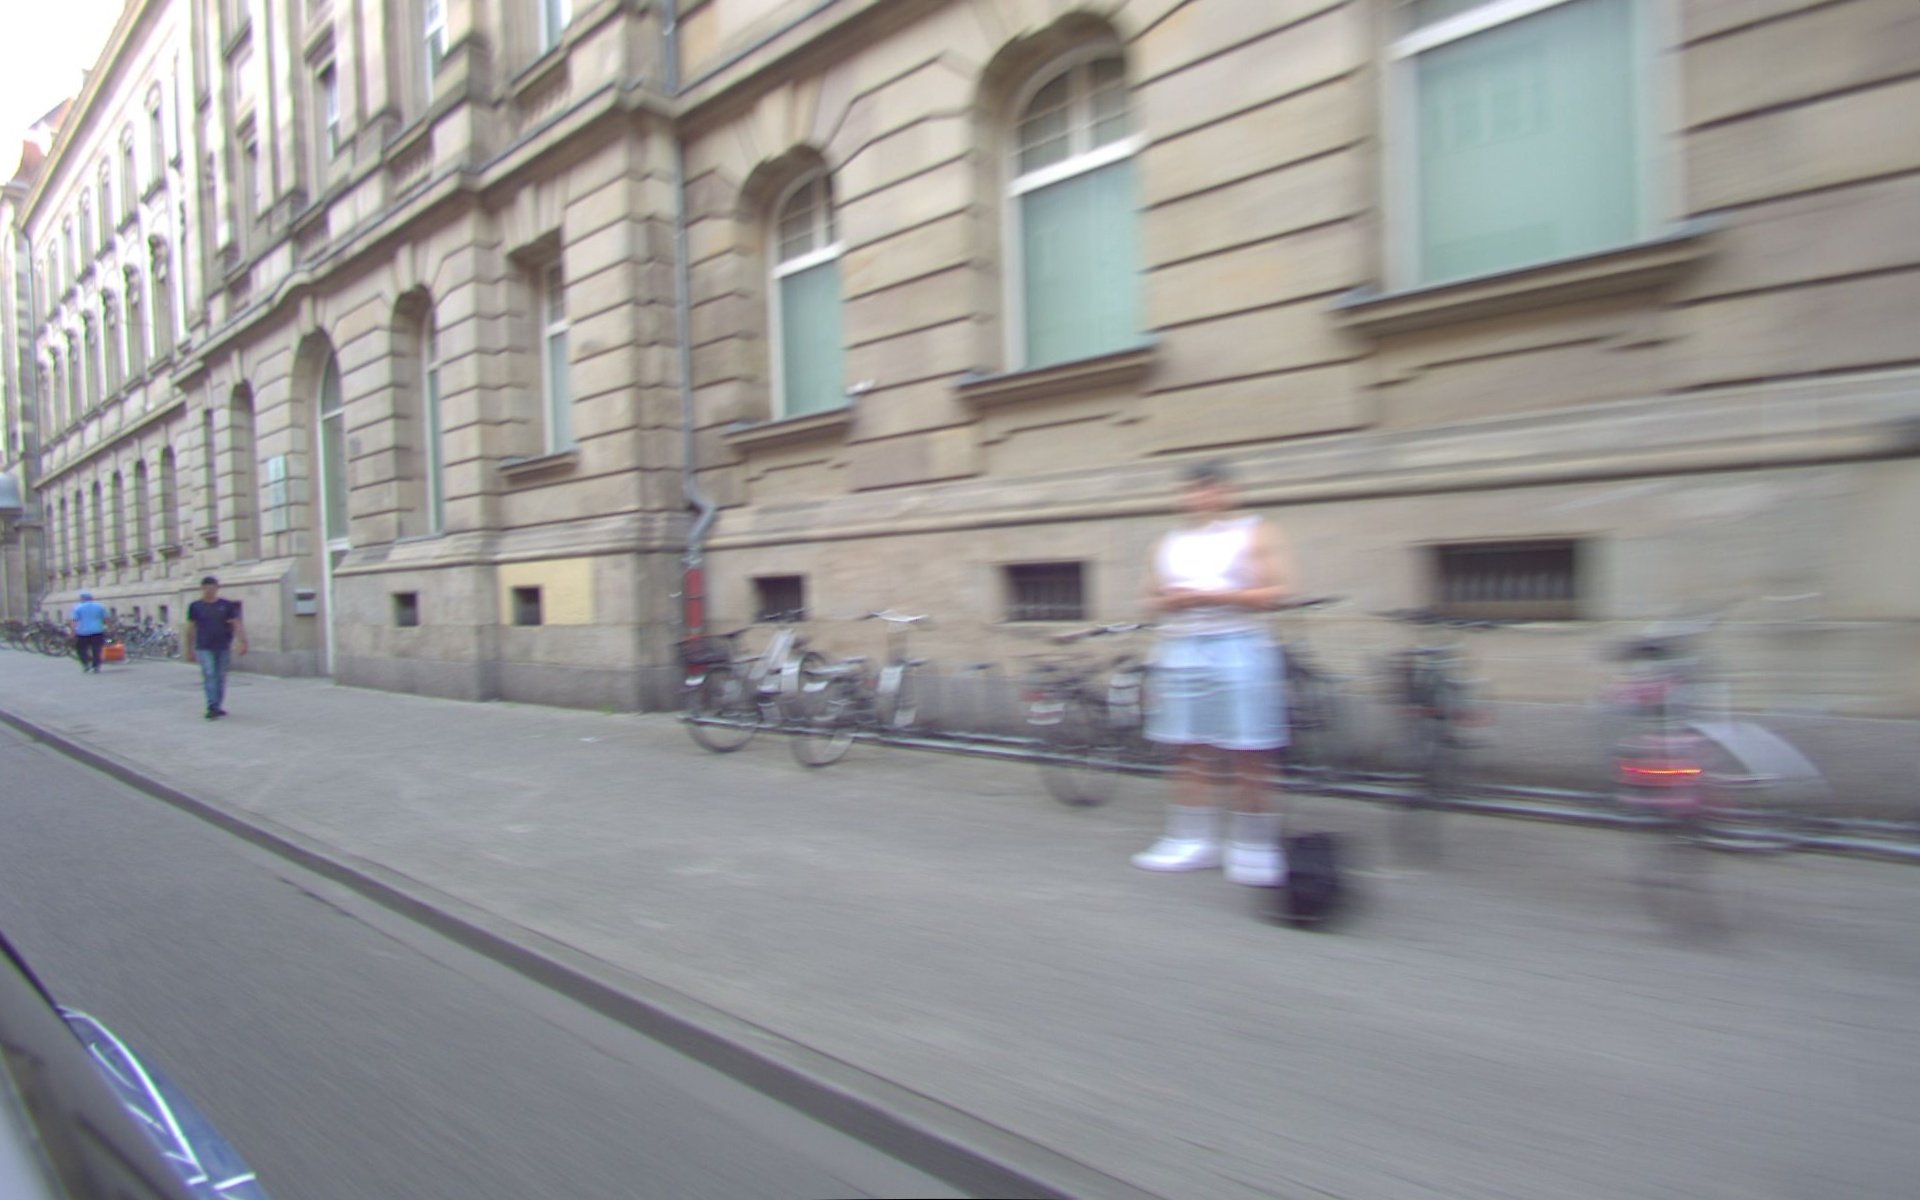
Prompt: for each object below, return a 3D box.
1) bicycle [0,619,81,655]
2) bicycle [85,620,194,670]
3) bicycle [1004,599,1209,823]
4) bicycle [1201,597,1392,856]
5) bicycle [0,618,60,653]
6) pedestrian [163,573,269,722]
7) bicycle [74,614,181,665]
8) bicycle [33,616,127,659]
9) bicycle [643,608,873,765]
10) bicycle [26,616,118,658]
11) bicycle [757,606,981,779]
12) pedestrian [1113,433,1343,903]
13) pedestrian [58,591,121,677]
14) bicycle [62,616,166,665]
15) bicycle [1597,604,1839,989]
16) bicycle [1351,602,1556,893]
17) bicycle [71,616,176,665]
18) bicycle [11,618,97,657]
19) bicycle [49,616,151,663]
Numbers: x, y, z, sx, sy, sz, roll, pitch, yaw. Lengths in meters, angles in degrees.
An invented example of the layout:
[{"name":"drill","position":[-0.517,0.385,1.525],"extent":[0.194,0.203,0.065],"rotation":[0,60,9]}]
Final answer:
[{"name":"bicycle","position":[-32.004,1.272,35.192],"extent":[0.725,1.086,2.011],"rotation":[-2,3,21]},{"name":"bicycle","position":[-19.946,1.081,24.645],"extent":[0.720,1.053,1.918],"rotation":[-2,2,36]},{"name":"bicycle","position":[0.975,0.601,6.328],"extent":[0.499,1.116,1.779],"rotation":[-1,3,35]},{"name":"bicycle","position":[1.912,0.591,5.578],"extent":[0.499,1.116,1.779],"rotation":[-1,3,35]},{"name":"bicycle","position":[-34.291,1.285,36.937],"extent":[0.728,1.117,2.002],"rotation":[-1,3,34]},{"name":"pedestrian","position":[-9.349,0.563,12.720],"extent":[0.969,1.763,0.801],"rotation":[-1,3,41]},{"name":"bicycle","position":[-20.693,0.951,25.189],"extent":[0.747,1.086,1.918],"rotation":[-1,3,40]},{"name":"bicycle","position":[-25.909,1.088,29.817],"extent":[0.728,1.086,1.922],"rotation":[-1,3,34]},{"name":"bicycle","position":[-1.652,0.664,8.587],"extent":[0.619,1.069,1.918],"rotation":[-1,3,40]},{"name":"bicycle","position":[-26.814,1.114,30.587],"extent":[0.728,1.086,1.922],"rotation":[-1,3,34]},{"name":"bicycle","position":[-0.637,0.638,7.855],"extent":[0.618,1.069,1.921],"rotation":[-1,2,35]},{"name":"pedestrian","position":[1.186,0.266,4.460],"extent":[0.753,1.865,0.583],"rotation":[-2,2,35]},{"name":"pedestrian","position":[-18.630,0.715,21.665],"extent":[0.768,1.758,0.820],"rotation":[-2,3,41]},{"name":"bicycle","position":[-22.184,1.037,26.576],"extent":[0.728,1.086,1.922],"rotation":[-1,3,34]},{"name":"bicycle","position":[3.028,0.606,4.027],"extent":[0.619,1.069,1.919],"rotation":[0,3,38]},{"name":"bicycle","position":[2.521,0.599,5.037],"extent":[0.618,1.069,1.921],"rotation":[-1,3,35]},{"name":"bicycle","position":[-21.559,1.024,26.121],"extent":[0.728,1.086,1.922],"rotation":[-1,3,34]},{"name":"bicycle","position":[-29.443,1.190,32.905],"extent":[0.728,1.086,1.921],"rotation":[-1,3,35]},{"name":"bicycle","position":[-23.229,1.056,27.378],"extent":[0.728,1.086,1.922],"rotation":[-1,3,34]}]
